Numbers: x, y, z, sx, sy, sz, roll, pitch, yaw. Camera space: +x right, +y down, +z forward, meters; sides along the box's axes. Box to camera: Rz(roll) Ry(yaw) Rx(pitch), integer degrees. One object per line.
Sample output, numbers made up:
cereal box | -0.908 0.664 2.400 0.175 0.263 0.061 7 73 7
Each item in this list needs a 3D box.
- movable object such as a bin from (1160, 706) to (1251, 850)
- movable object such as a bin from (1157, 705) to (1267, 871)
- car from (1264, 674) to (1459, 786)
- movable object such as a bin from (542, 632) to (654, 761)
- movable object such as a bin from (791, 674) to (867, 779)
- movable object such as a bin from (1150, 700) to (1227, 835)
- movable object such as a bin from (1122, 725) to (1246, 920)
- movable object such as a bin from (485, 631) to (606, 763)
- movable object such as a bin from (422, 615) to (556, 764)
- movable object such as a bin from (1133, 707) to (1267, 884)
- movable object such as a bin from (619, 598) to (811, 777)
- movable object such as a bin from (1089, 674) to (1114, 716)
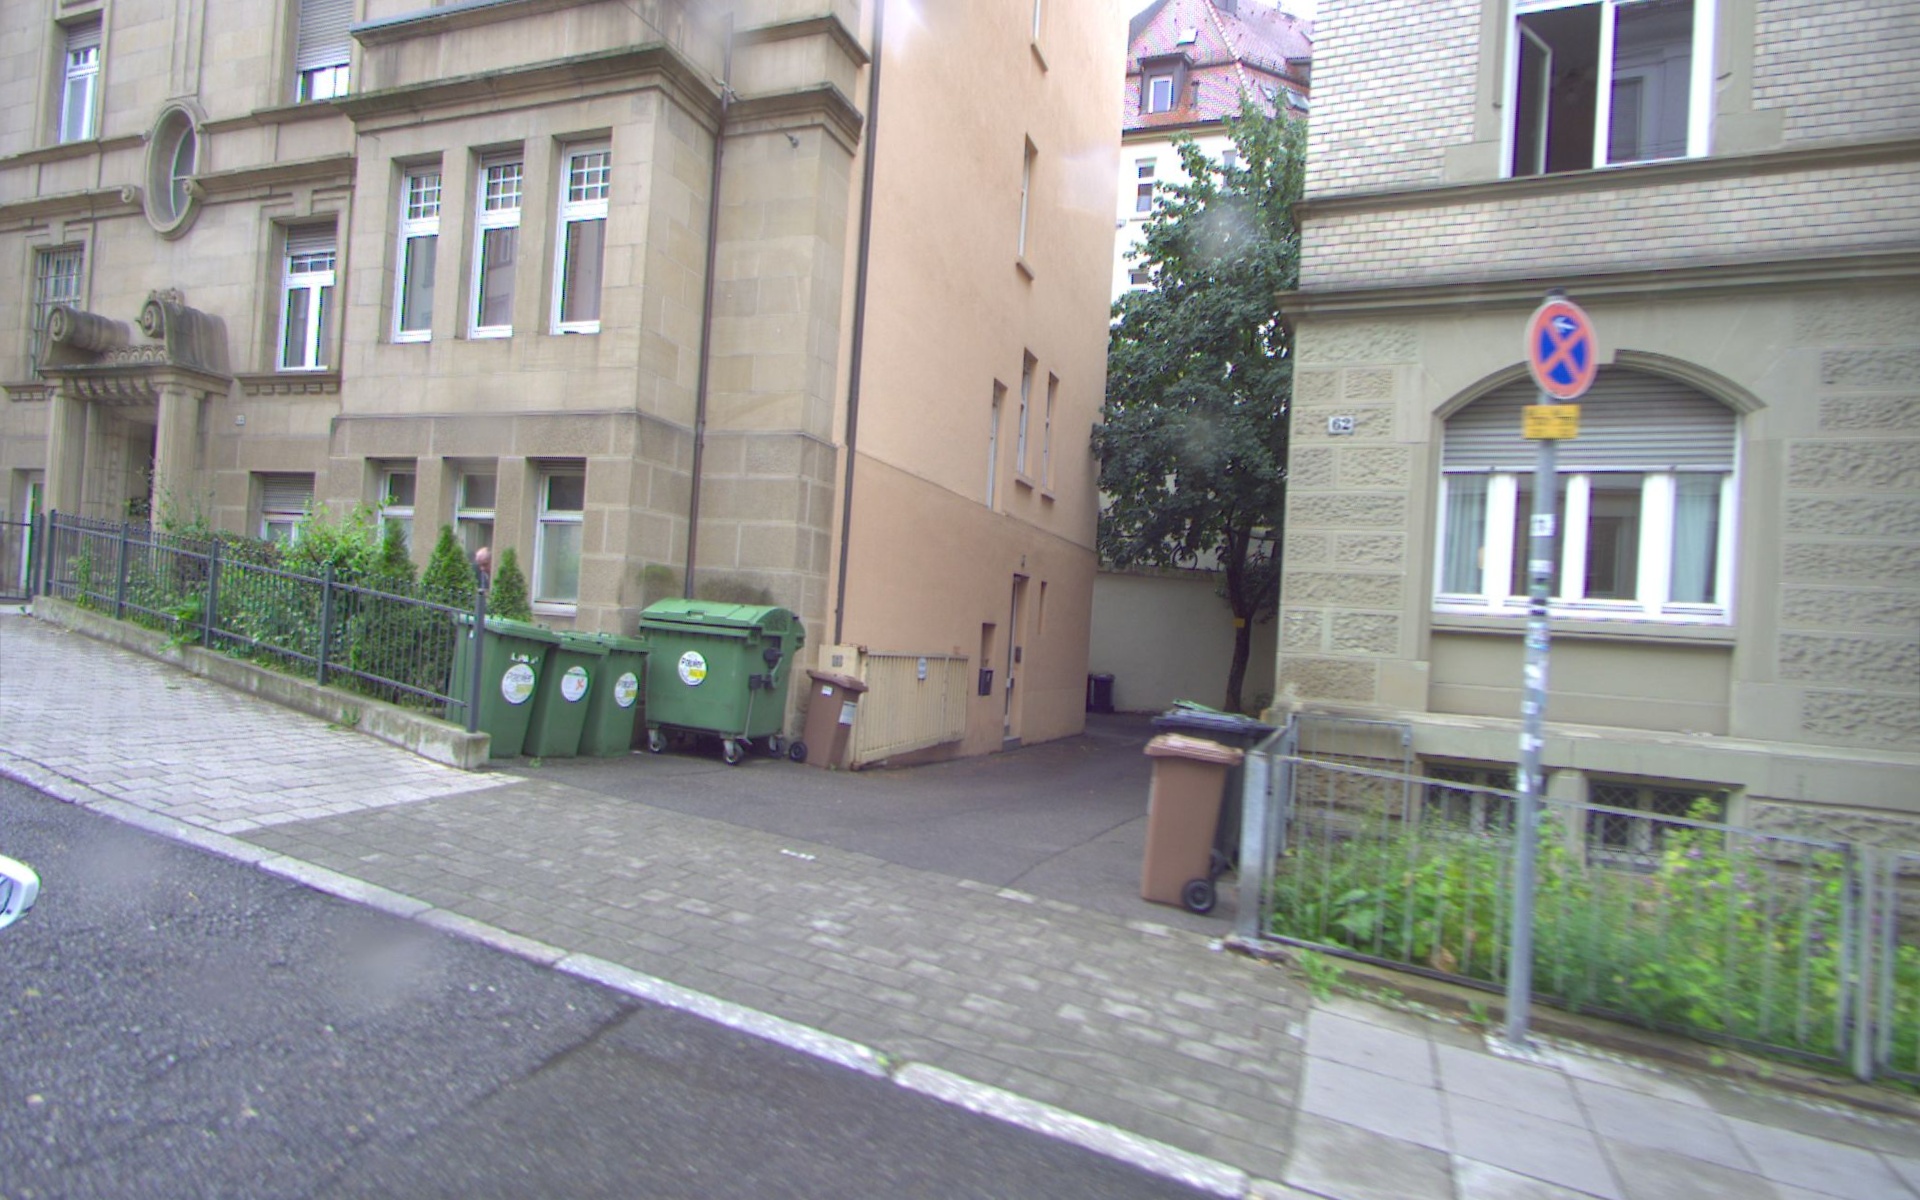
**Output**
movable object such as a bin | 2.044 1.457 8.349 0.545 1.072 0.498 6 -3 24
movable object such as a bin | 1.854 1.355 7.378 0.598 1.072 0.501 6 -3 24
car | 9.510 2.995 23.894 3.930 1.530 1.796 13 5 28
movable object such as a bin | -3.183 0.854 8.873 0.593 1.036 0.540 6 -4 20
movable object such as a bin | -1.286 1.242 9.932 0.510 0.952 0.395 6 -4 20
movable object such as a bin | 2.072 1.494 9.082 0.469 1.113 0.521 6 -3 24
movable object such as a bin | 1.275 1.232 5.689 0.527 0.932 0.427 7 2 20
movable object such as a bin | -3.396 0.799 8.264 0.593 0.978 0.540 6 -4 20
movable object such as a bin | -3.603 0.692 7.723 0.593 1.036 0.540 6 -4 20
movable object such as a bin | 1.629 1.295 6.794 0.653 1.041 0.529 6 -4 30
movable object such as a bin | -2.275 0.821 9.441 1.256 1.446 0.976 6 -4 20
movable object such as a bin | 3.922 2.635 27.934 0.532 1.053 0.563 4 4 20
